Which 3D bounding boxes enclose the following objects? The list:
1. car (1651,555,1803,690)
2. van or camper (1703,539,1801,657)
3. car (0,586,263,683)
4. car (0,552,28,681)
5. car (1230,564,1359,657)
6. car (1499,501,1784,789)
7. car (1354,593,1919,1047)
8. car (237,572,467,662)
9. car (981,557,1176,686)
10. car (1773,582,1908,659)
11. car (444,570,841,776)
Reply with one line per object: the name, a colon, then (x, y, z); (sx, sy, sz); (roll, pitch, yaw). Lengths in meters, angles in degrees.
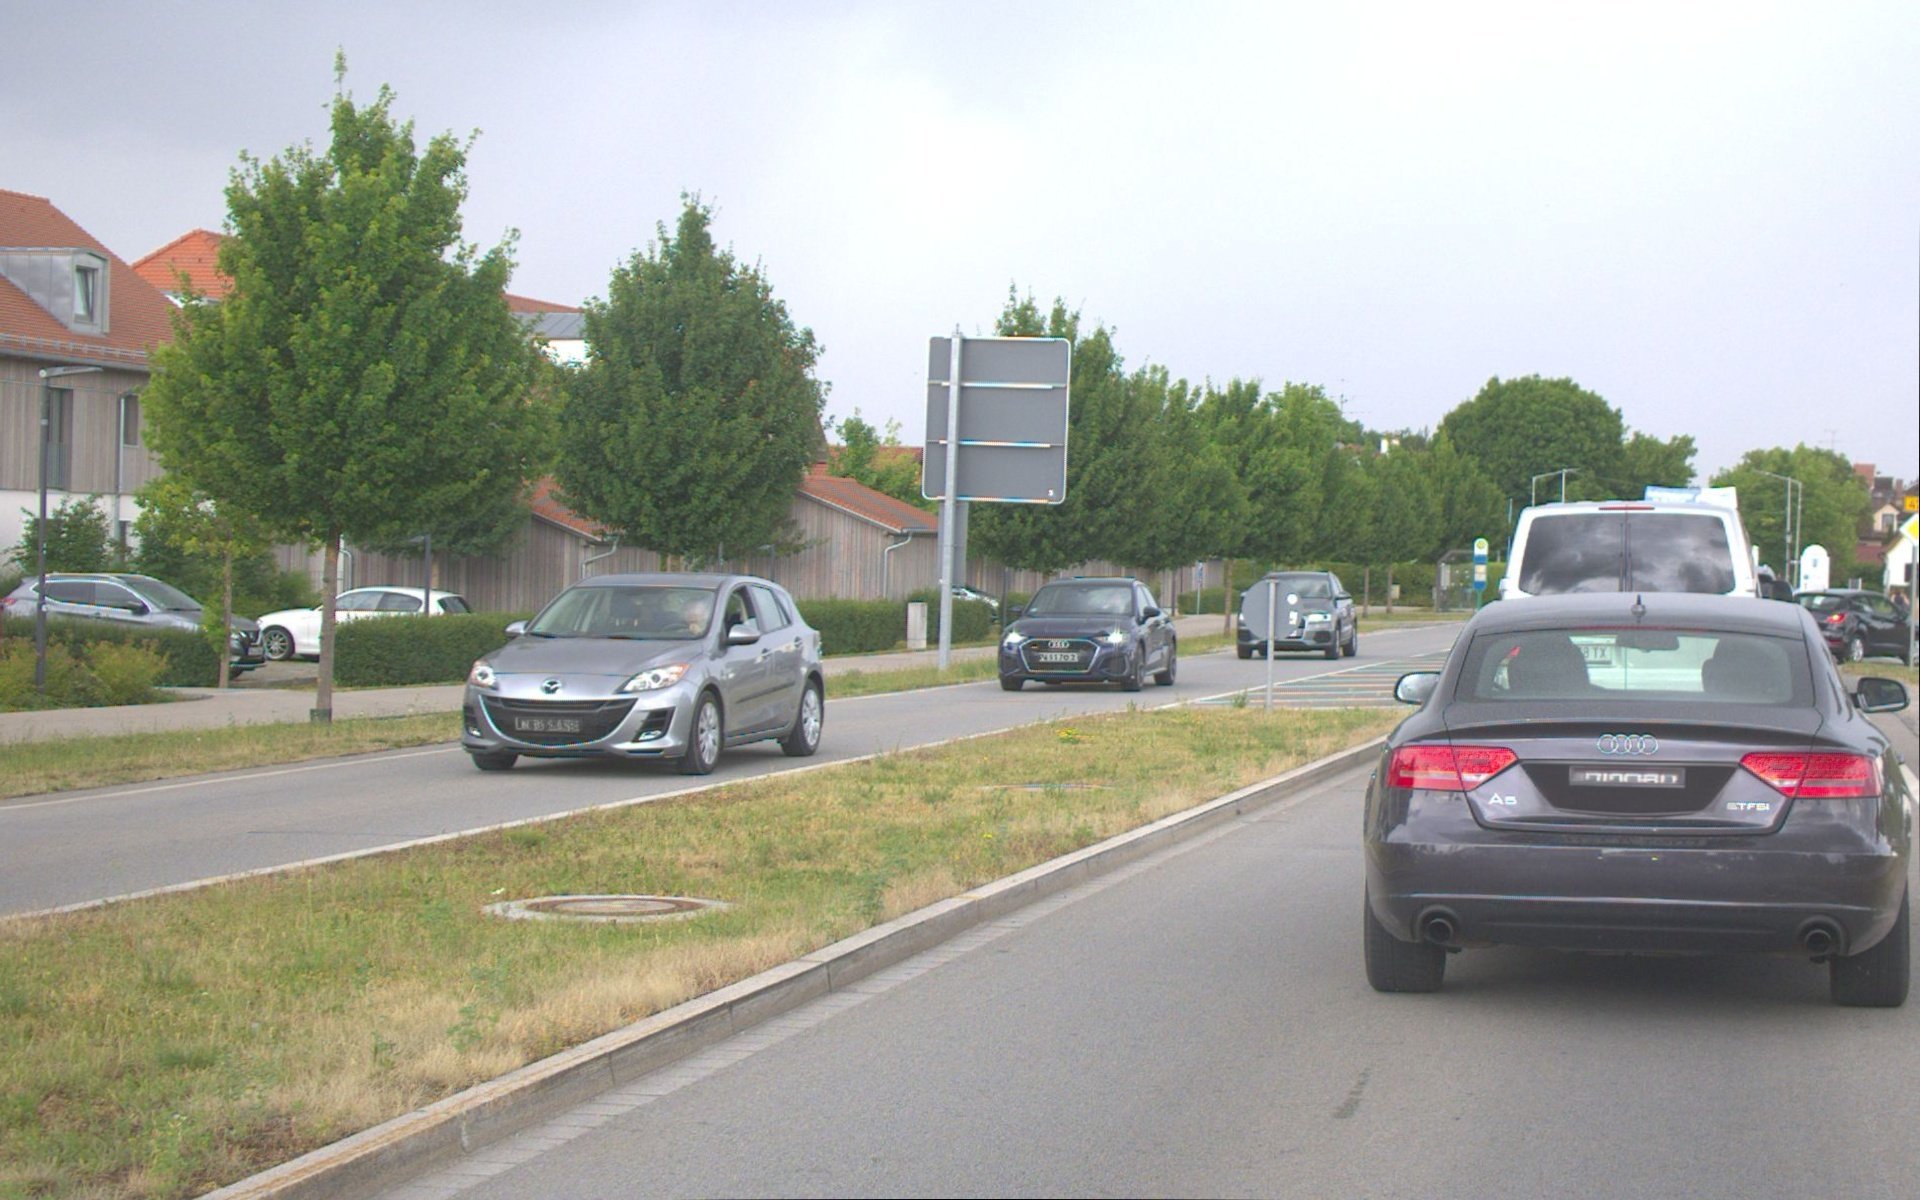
car: (10.018, 0.262, 44.709); (1.778, 1.612, 3.997); (2, 1, 14)
van or camper: (23.516, -0.032, 102.272); (2.626, 3.312, 6.817); (2, 0, 12)
car: (-13.004, 0.511, 53.208); (3.916, 1.310, 1.842); (2, 1, 11)
car: (-14.713, 0.136, 44.795); (4.534, 1.674, 1.998); (2, 1, 16)
car: (6.112, 0.171, 62.519); (1.868, 1.568, 3.998); (2, 1, 12)
car: (4.969, 0.312, 25.145); (1.868, 1.927, 3.998); (0, 0, 11)
car: (2.525, 0.678, 12.772); (1.785, 1.387, 4.130); (0, 0, 11)
car: (-11.051, 0.296, 62.542); (3.731, 1.477, 1.686); (2, 1, 10)
car: (1.580, 0.249, 44.317); (1.868, 1.568, 3.998); (1, 0, 12)
car: (16.784, 0.408, 65.461); (1.441, 1.368, 3.506); (3, 0, 32)
car: (-2.293, 0.490, 25.988); (1.731, 1.405, 4.203); (1, 0, 13)
